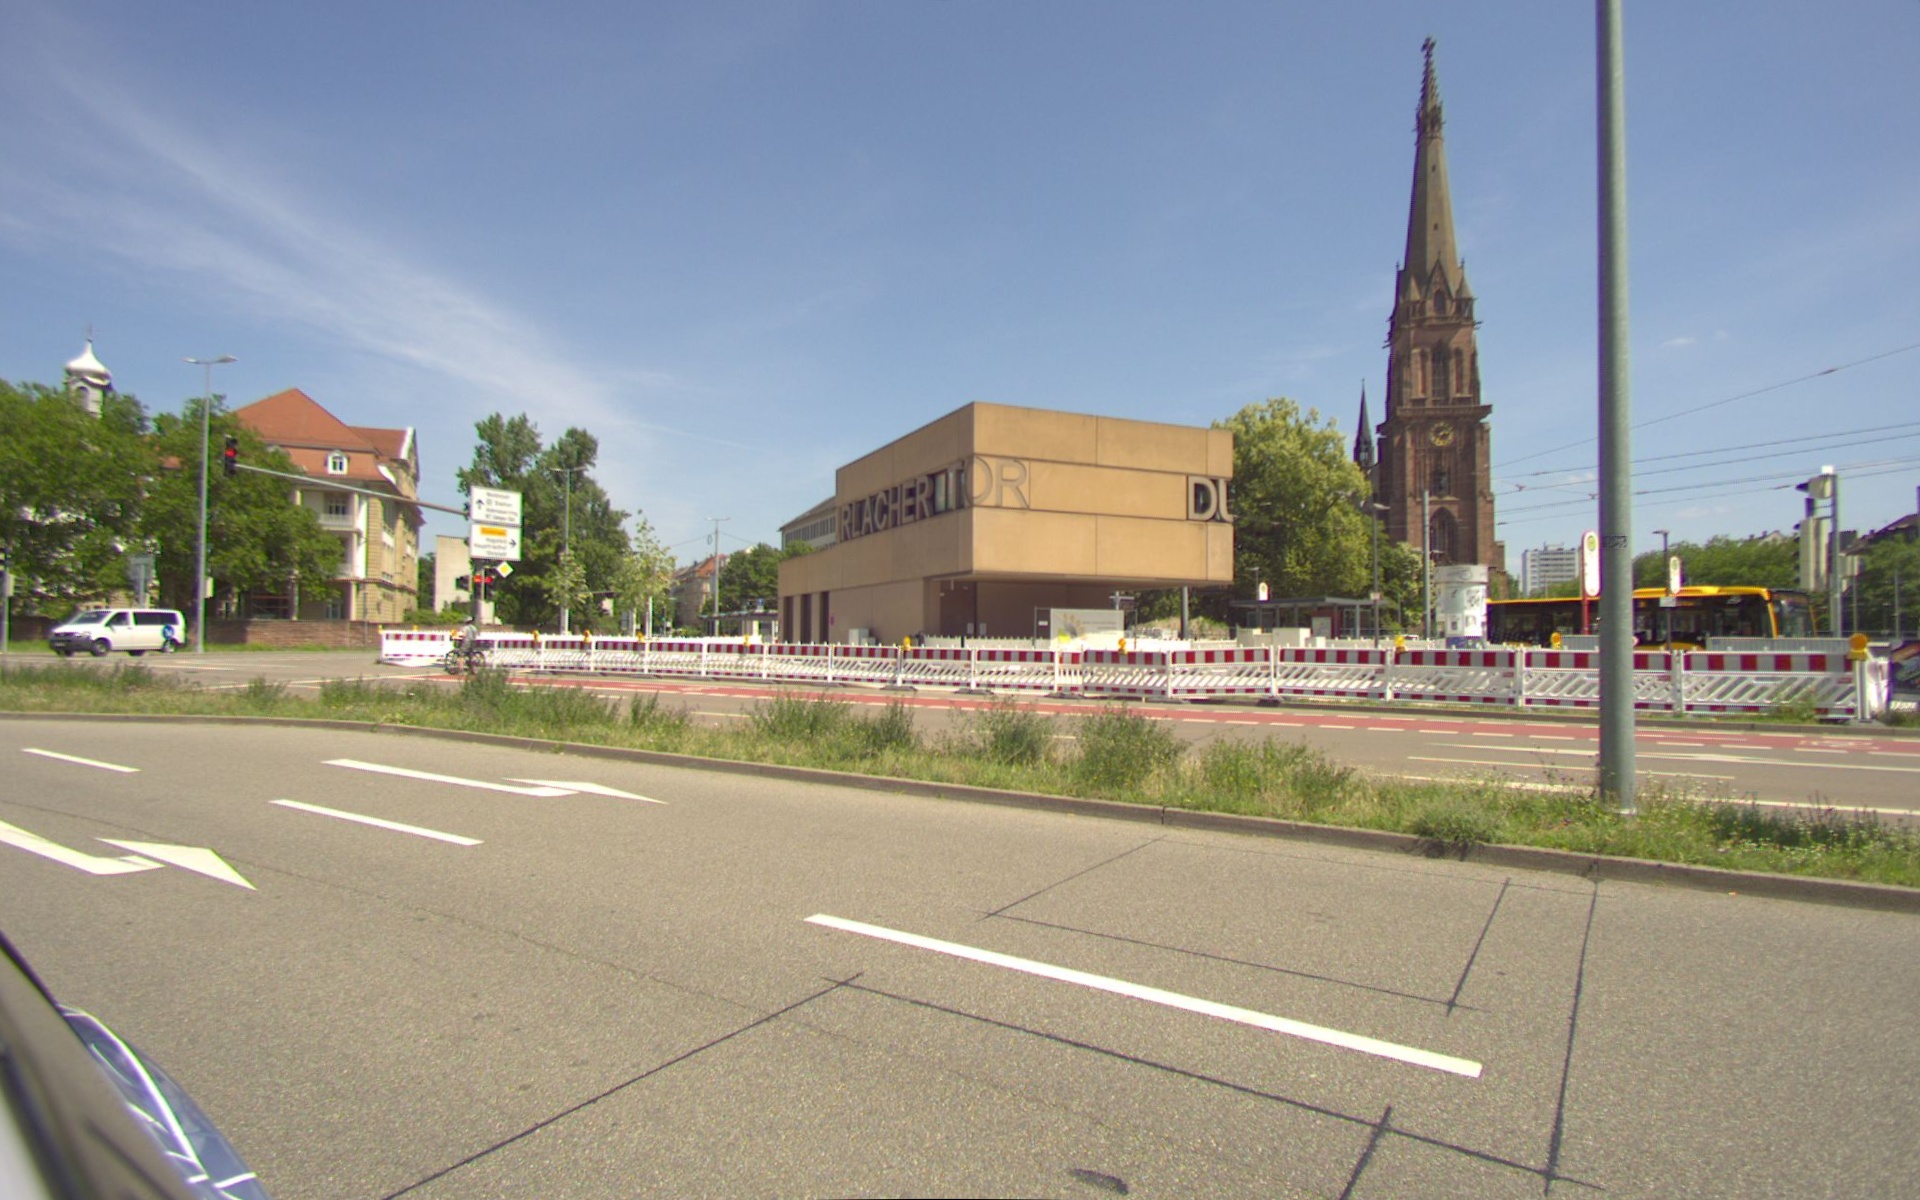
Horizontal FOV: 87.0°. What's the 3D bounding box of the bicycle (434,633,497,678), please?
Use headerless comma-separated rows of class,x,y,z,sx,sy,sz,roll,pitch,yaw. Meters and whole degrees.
bicycle,-13.583,1.506,27.779,1.890,1.189,0.519,0,-2,29

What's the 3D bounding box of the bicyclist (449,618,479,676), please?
bicyclist,-13.641,1.286,27.827,0.496,1.591,0.526,0,-2,28

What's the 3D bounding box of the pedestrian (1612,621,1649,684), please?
pedestrian,22.007,1.727,33.215,0.601,2.011,0.665,-1,-3,-10

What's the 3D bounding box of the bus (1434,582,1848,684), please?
bus,23.675,1.206,36.667,3.674,3.065,12.293,1,-2,-24

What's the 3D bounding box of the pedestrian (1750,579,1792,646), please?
pedestrian,24.655,0.390,30.781,0.601,2.011,0.666,-1,-3,-20

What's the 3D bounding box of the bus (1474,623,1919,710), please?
bus,11.867,1.132,16.809,5.802,1.259,1.234,-4,-3,33

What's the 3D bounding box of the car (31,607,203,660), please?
car,-34.651,1.405,41.852,1.980,2.000,5.374,-2,-3,12
